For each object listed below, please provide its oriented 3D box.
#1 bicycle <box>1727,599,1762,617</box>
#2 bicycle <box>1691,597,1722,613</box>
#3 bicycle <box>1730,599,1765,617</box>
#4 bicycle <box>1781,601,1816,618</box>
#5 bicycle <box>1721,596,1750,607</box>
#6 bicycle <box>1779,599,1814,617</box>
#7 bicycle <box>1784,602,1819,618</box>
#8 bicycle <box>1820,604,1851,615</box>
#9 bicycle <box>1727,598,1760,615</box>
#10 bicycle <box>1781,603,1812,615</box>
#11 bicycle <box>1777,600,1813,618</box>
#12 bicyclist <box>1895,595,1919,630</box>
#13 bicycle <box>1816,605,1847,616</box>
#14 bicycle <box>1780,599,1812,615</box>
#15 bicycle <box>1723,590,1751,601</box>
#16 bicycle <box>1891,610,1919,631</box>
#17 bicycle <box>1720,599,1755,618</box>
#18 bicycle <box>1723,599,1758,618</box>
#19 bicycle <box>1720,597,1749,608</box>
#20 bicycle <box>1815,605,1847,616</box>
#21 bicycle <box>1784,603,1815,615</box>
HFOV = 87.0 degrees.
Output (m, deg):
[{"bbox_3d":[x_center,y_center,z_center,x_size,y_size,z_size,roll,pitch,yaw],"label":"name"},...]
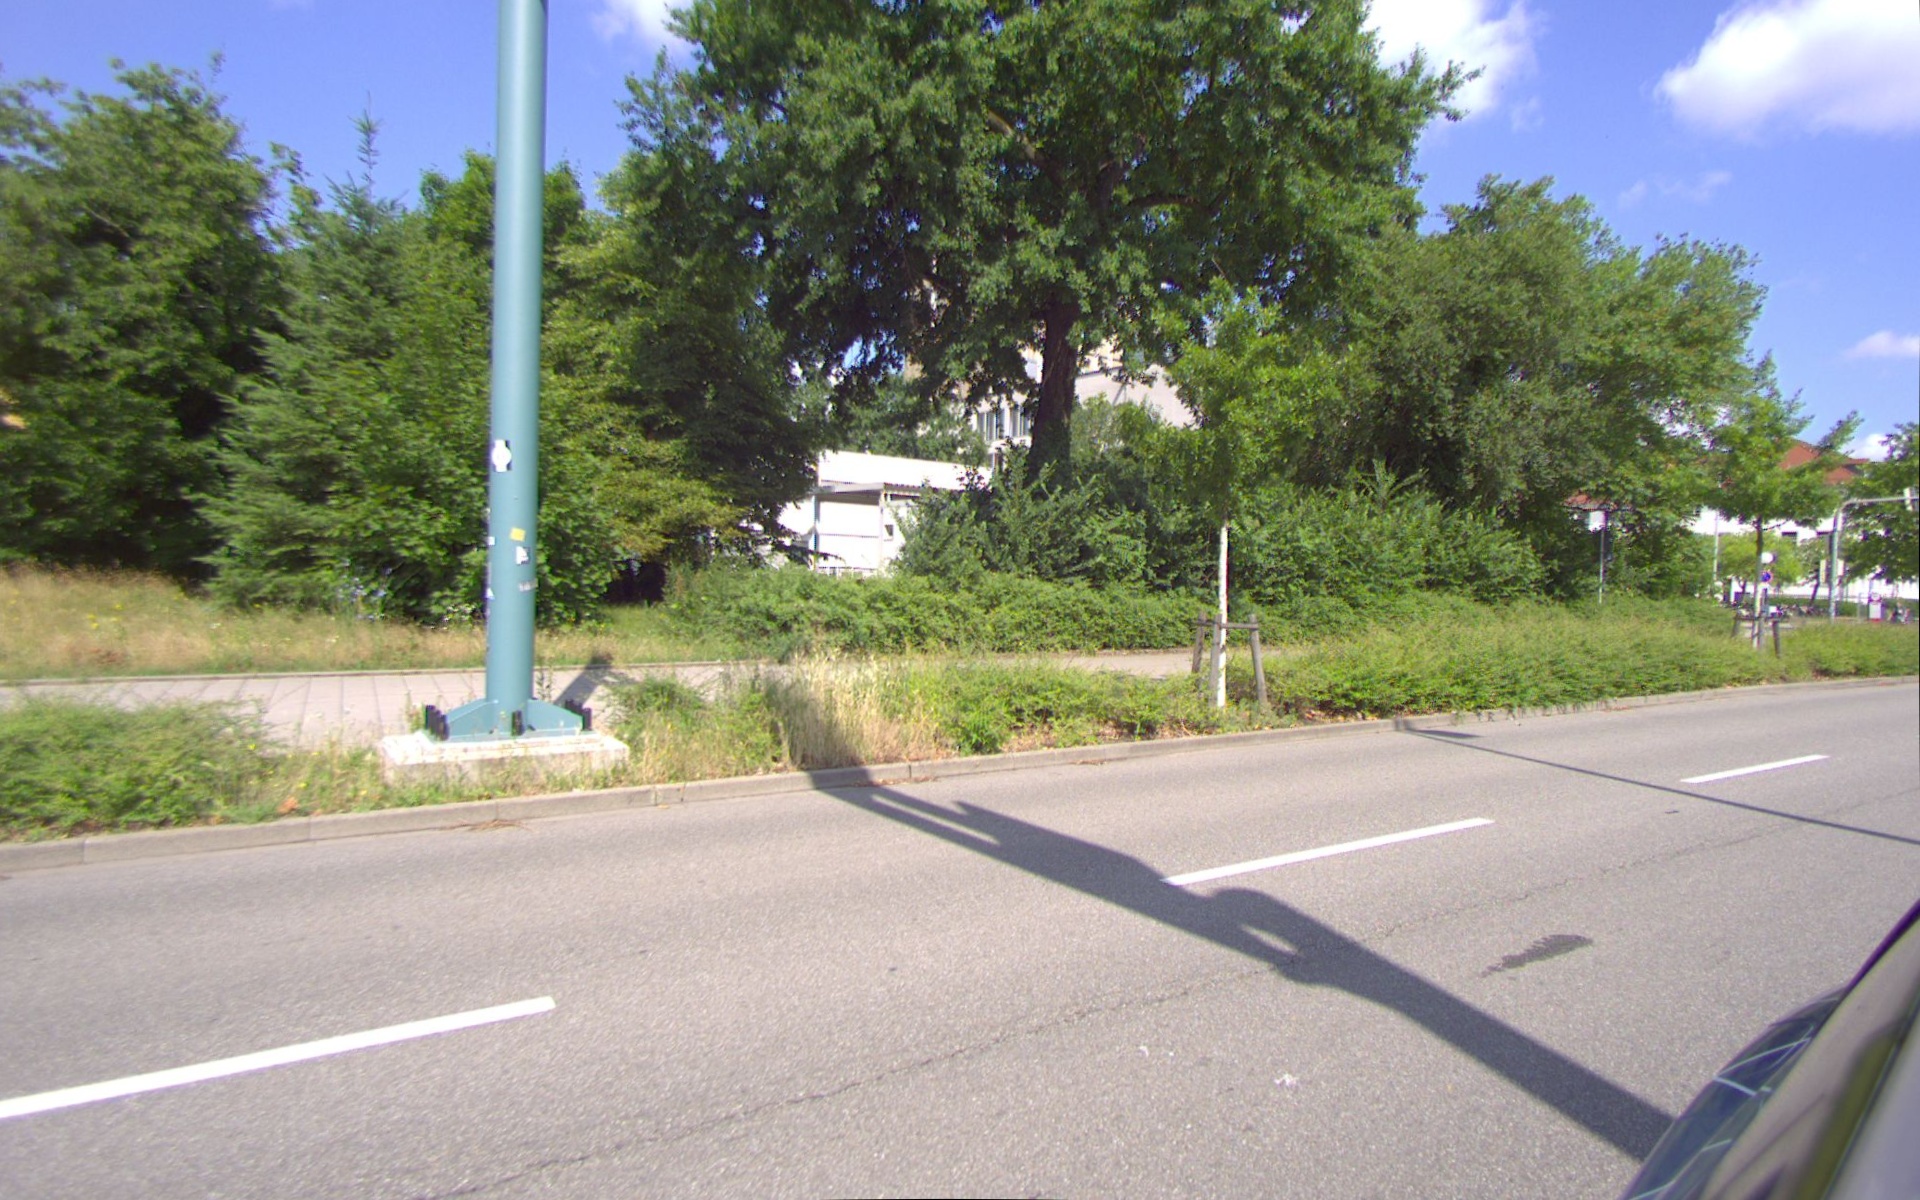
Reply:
[{"bbox_3d":[51.309,0.540,66.202,0.615,1.110,1.671,1,1,-39],"label":"bicycle"},{"bbox_3d":[53.802,0.358,72.940,0.615,1.110,1.671,1,1,-39],"label":"bicycle"},{"bbox_3d":[51.837,0.550,66.623,0.615,1.110,1.671,1,1,-39],"label":"bicycle"},{"bbox_3d":[55.647,0.622,67.187,0.615,1.048,1.671,1,1,-39],"label":"bicycle"},{"bbox_3d":[60.129,0.144,78.460,0.615,0.800,1.671,1,2,-39],"label":"bicycle"},{"bbox_3d":[54.884,0.495,66.394,0.615,1.110,1.671,1,1,-39],"label":"bicycle"},{"bbox_3d":[56.246,0.663,67.668,0.615,0.997,1.671,1,1,-39],"label":"bicycle"},{"bbox_3d":[64.764,0.714,74.884,0.615,0.743,1.671,1,2,-39],"label":"bicycle"},{"bbox_3d":[52.700,0.426,68.081,0.615,1.110,1.671,1,1,-39],"label":"bicycle"},{"bbox_3d":[62.038,0.667,75.064,0.616,0.800,1.671,1,2,-41],"label":"bicycle"},{"bbox_3d":[54.187,0.574,65.671,0.615,1.110,1.671,1,1,-39],"label":"bicycle"},{"bbox_3d":[42.819,0.572,45.539,0.602,1.526,0.917,2,1,7],"label":"bicyclist"},{"bbox_3d":[63.874,0.749,74.179,0.615,0.743,1.671,1,2,-39],"label":"bicycle"},{"bbox_3d":[61.119,0.506,73.986,0.615,1.110,1.671,1,1,-39],"label":"bicycle"},{"bbox_3d":[61.642,-0.394,80.277,0.615,0.800,1.671,1,2,-39],"label":"bicycle"},{"bbox_3d":[42.807,0.918,45.479,0.609,0.843,1.512,2,1,7],"label":"bicycle"},{"bbox_3d":[50.087,0.553,65.244,0.615,1.110,1.671,1,1,-39],"label":"bicycle"},{"bbox_3d":[50.644,0.554,65.697,0.615,1.110,1.671,1,1,-39],"label":"bicycle"},{"bbox_3d":[59.620,0.200,77.888,0.615,0.800,1.671,1,2,-39],"label":"bicycle"},{"bbox_3d":[63.222,0.763,73.498,0.615,0.743,1.671,1,2,-39],"label":"bicycle"},{"bbox_3d":[62.608,0.669,75.504,0.616,0.800,1.671,1,2,-41],"label":"bicycle"}]
